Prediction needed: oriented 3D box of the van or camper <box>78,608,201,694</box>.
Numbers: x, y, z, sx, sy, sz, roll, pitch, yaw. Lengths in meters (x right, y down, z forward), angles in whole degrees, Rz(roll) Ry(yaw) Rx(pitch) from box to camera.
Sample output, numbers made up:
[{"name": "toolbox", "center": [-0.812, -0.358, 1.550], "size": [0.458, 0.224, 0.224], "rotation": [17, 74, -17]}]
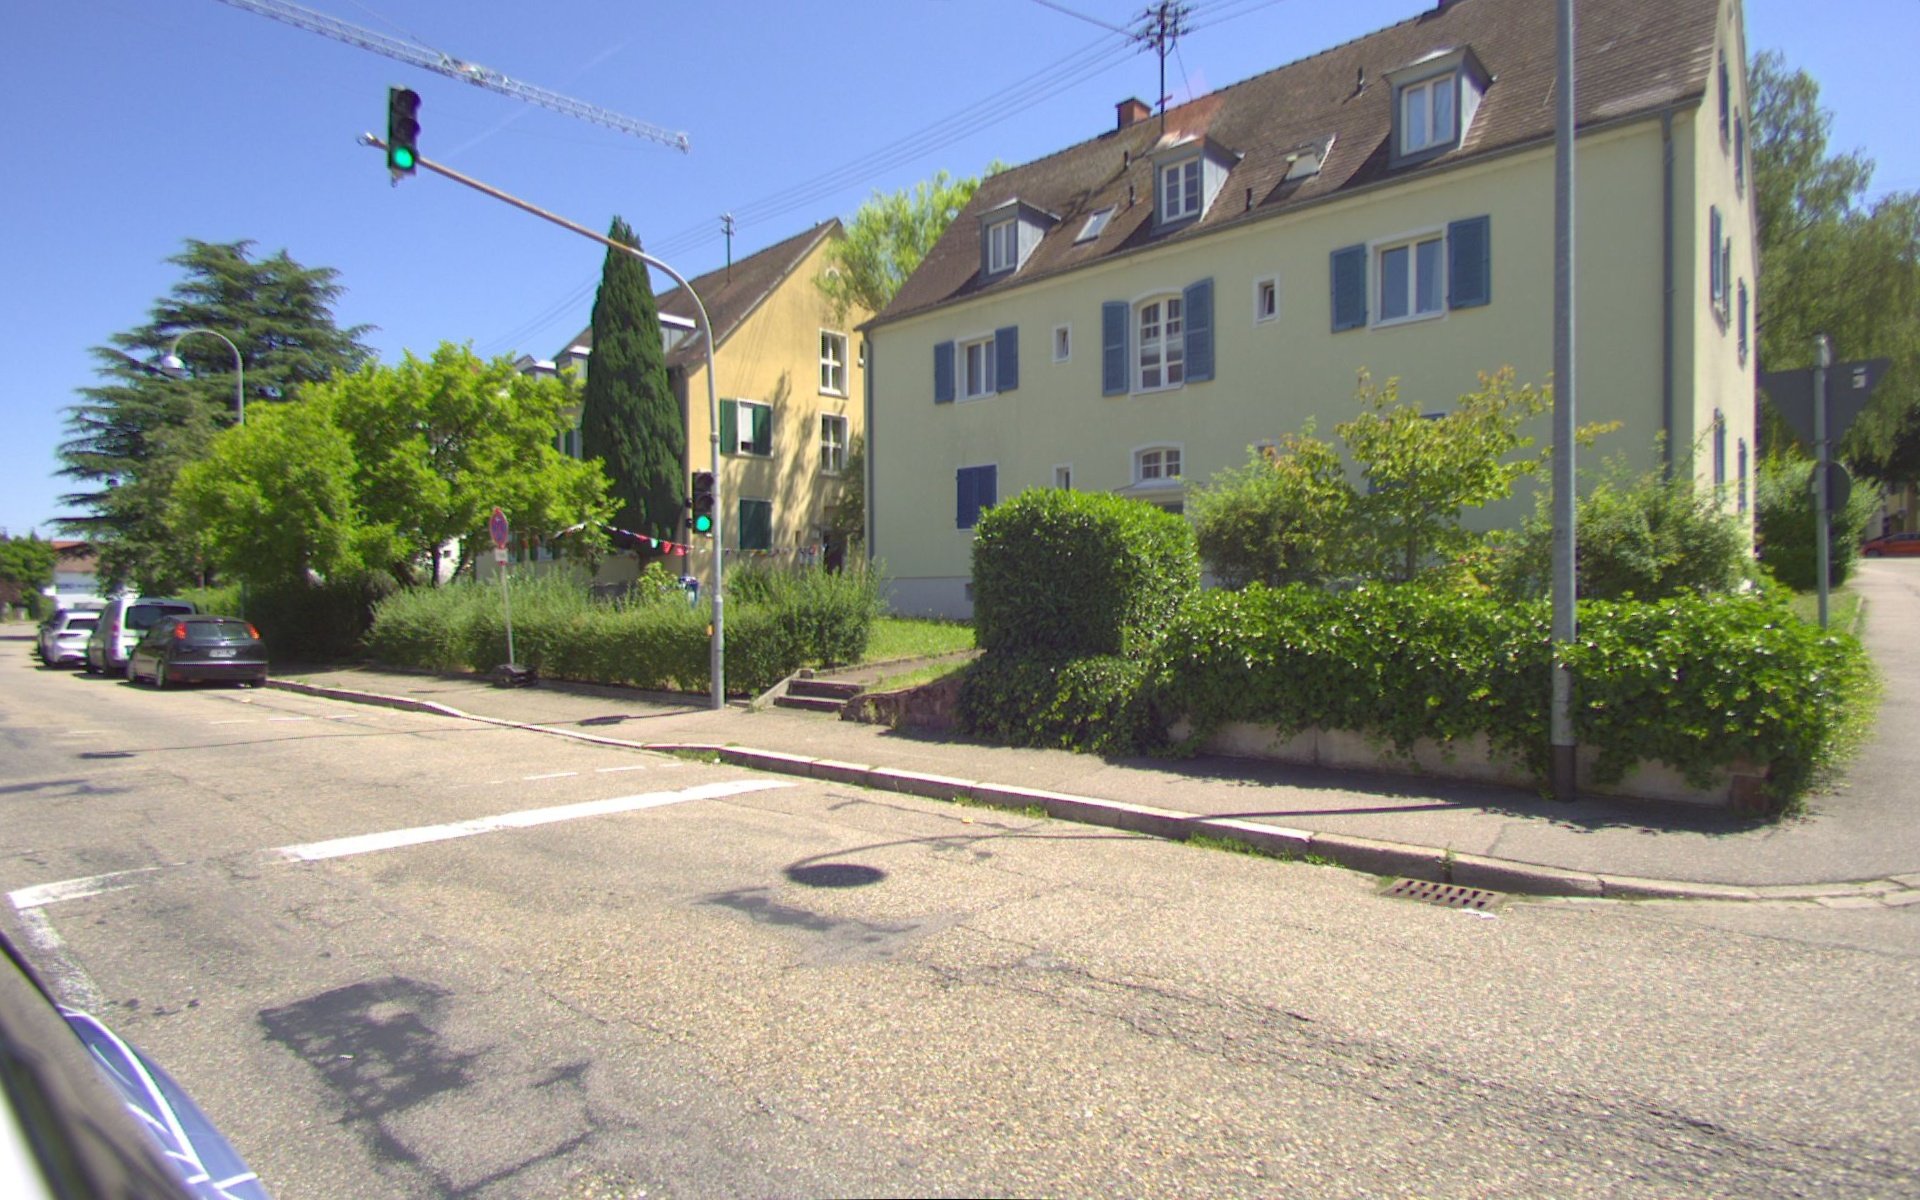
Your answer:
[{"name": "van or camper", "center": [-19.087, 1.117, 23.494], "size": [3.985, 1.818, 1.662], "rotation": [-1, -2, 43]}]

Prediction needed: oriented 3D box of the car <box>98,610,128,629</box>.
[{"name": "car", "center": [-79.744, 1.824, 95.329], "size": [1.864, 1.772, 3.620], "rotation": [3, -2, -37]}]

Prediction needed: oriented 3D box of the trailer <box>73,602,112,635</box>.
[{"name": "trailer", "center": [-55.579, 1.187, 64.888], "size": [1.791, 2.049, 4.007], "rotation": [3, -2, -40]}]

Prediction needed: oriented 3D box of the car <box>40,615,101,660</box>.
[{"name": "car", "center": [-34.656, 1.426, 39.409], "size": [1.661, 1.652, 3.794], "rotation": [2, -2, -42]}]

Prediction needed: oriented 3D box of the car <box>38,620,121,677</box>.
[{"name": "car", "center": [-27.844, 1.479, 31.954], "size": [1.662, 1.649, 4.333], "rotation": [2, -2, -45]}]

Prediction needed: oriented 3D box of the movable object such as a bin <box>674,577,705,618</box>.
[{"name": "movable object such as a bin", "center": [-8.060, -0.059, 30.161], "size": [0.674, 1.205, 0.614], "rotation": [-1, 0, 43]}]

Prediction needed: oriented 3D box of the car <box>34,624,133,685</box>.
[{"name": "car", "center": [-23.242, 1.388, 26.784], "size": [1.662, 1.452, 4.249], "rotation": [2, -2, -45]}]

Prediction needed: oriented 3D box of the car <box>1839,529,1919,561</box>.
[{"name": "car", "center": [47.356, -2.799, 51.185], "size": [3.982, 1.487, 1.981], "rotation": [-1, 2, 29]}]

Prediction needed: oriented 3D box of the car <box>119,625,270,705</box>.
[{"name": "car", "center": [-15.393, 1.228, 20.285], "size": [3.925, 1.423, 1.663], "rotation": [-1, -2, 41]}]

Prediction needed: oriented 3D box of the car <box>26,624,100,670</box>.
[{"name": "car", "center": [-31.530, 1.620, 35.544], "size": [1.662, 1.487, 4.333], "rotation": [2, -2, -45]}]
